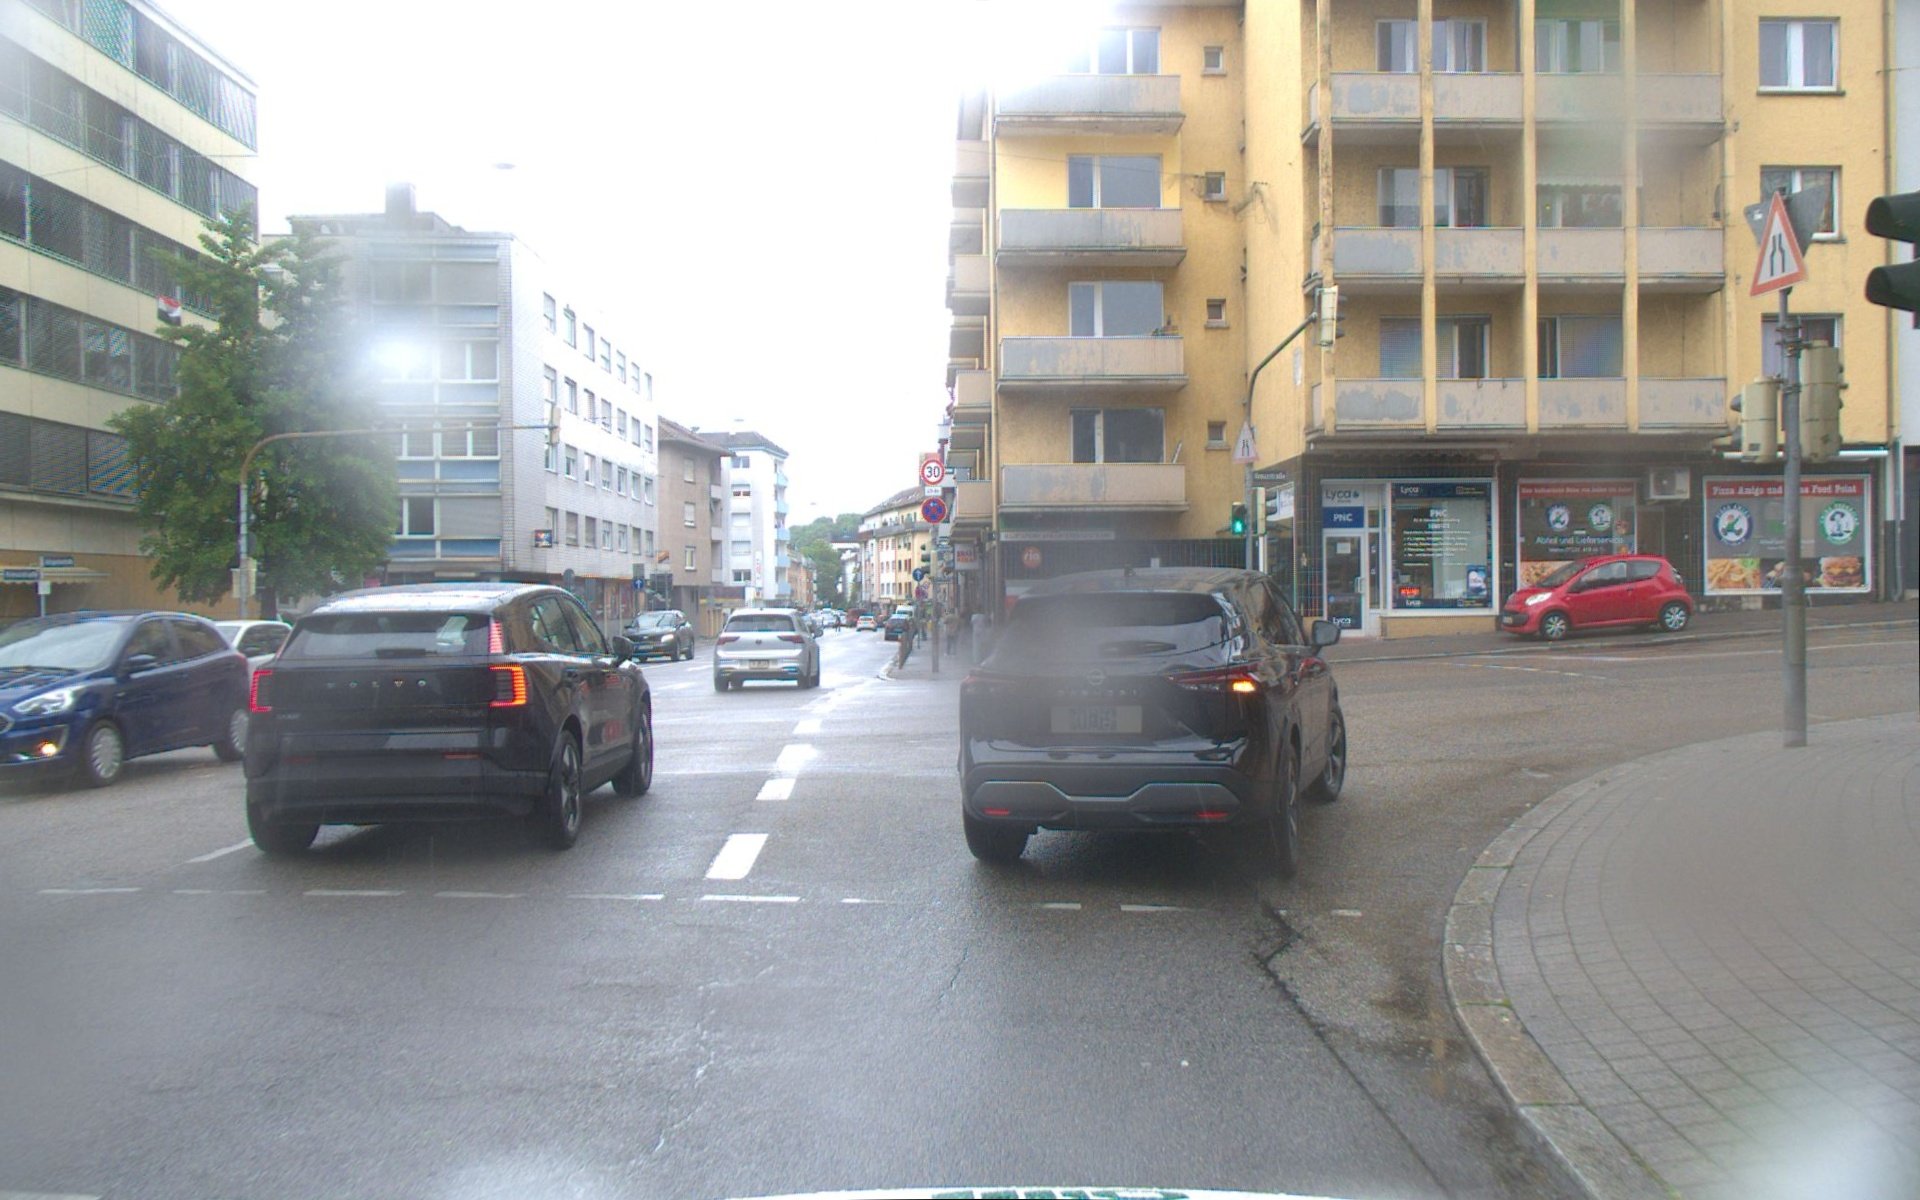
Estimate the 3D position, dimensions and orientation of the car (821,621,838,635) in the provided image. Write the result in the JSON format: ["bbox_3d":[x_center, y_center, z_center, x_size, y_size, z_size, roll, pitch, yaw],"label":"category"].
[{"bbox_3d":[-15.897,3.402,201.748,1.954,1.512,3.998,-3,0,-3],"label":"car"}]

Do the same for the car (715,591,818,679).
[{"bbox_3d":[-3.605,0.596,30.683,1.734,1.469,3.993,-2,0,-7],"label":"car"}]

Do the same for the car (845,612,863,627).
[{"bbox_3d":[-12.960,2.429,202.304,1.954,1.666,4.828,-3,0,-3],"label":"car"}]

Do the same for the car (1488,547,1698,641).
[{"bbox_3d":[12.079,-0.126,31.659,3.402,1.584,1.472,-3,1,-3],"label":"car"}]

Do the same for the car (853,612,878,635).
[{"bbox_3d":[-8.751,2.170,153.295,1.953,2.049,4.000,-3,0,0],"label":"car"}]

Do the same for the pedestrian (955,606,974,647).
[{"bbox_3d":[0.175,1.018,64.312,0.614,1.585,0.706,-1,0,13],"label":"pedestrian"}]

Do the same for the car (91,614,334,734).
[{"bbox_3d":[-11.016,1.036,24.688,1.743,1.504,3.794,-4,0,1],"label":"car"}]

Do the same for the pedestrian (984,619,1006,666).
[{"bbox_3d":[0.959,1.169,45.756,0.454,1.254,0.554,-6,0,-2],"label":"pedestrian"}]

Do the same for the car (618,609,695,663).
[{"bbox_3d":[-10.133,1.181,55.438,1.743,1.624,3.794,-2,0,1],"label":"car"}]

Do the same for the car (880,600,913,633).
[{"bbox_3d":[-4.137,1.062,107.985,1.954,2.048,3.997,-3,0,-4],"label":"car"}]

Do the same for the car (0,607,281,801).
[{"bbox_3d":[-7.983,0.873,15.269,1.750,1.517,3.814,-3,0,1],"label":"car"}]

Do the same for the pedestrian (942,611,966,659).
[{"bbox_3d":[-0.197,1.157,54.953,0.688,1.585,0.630,-1,0,8],"label":"pedestrian"}]

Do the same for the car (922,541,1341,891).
[{"bbox_3d":[1.265,0.519,10.114,1.918,1.681,4.004,-2,1,15],"label":"car"}]

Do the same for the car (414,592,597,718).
[{"bbox_3d":[-7.397,0.832,27.375,1.743,1.847,4.406,-2,0,0],"label":"car"}]

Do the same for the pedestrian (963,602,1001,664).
[{"bbox_3d":[0.609,0.895,45.437,0.819,1.584,0.832,-7,0,-3],"label":"pedestrian"}]

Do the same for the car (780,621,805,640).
[{"bbox_3d":[-14.951,2.727,147.622,1.954,1.512,3.998,-3,0,-3],"label":"car"}]
